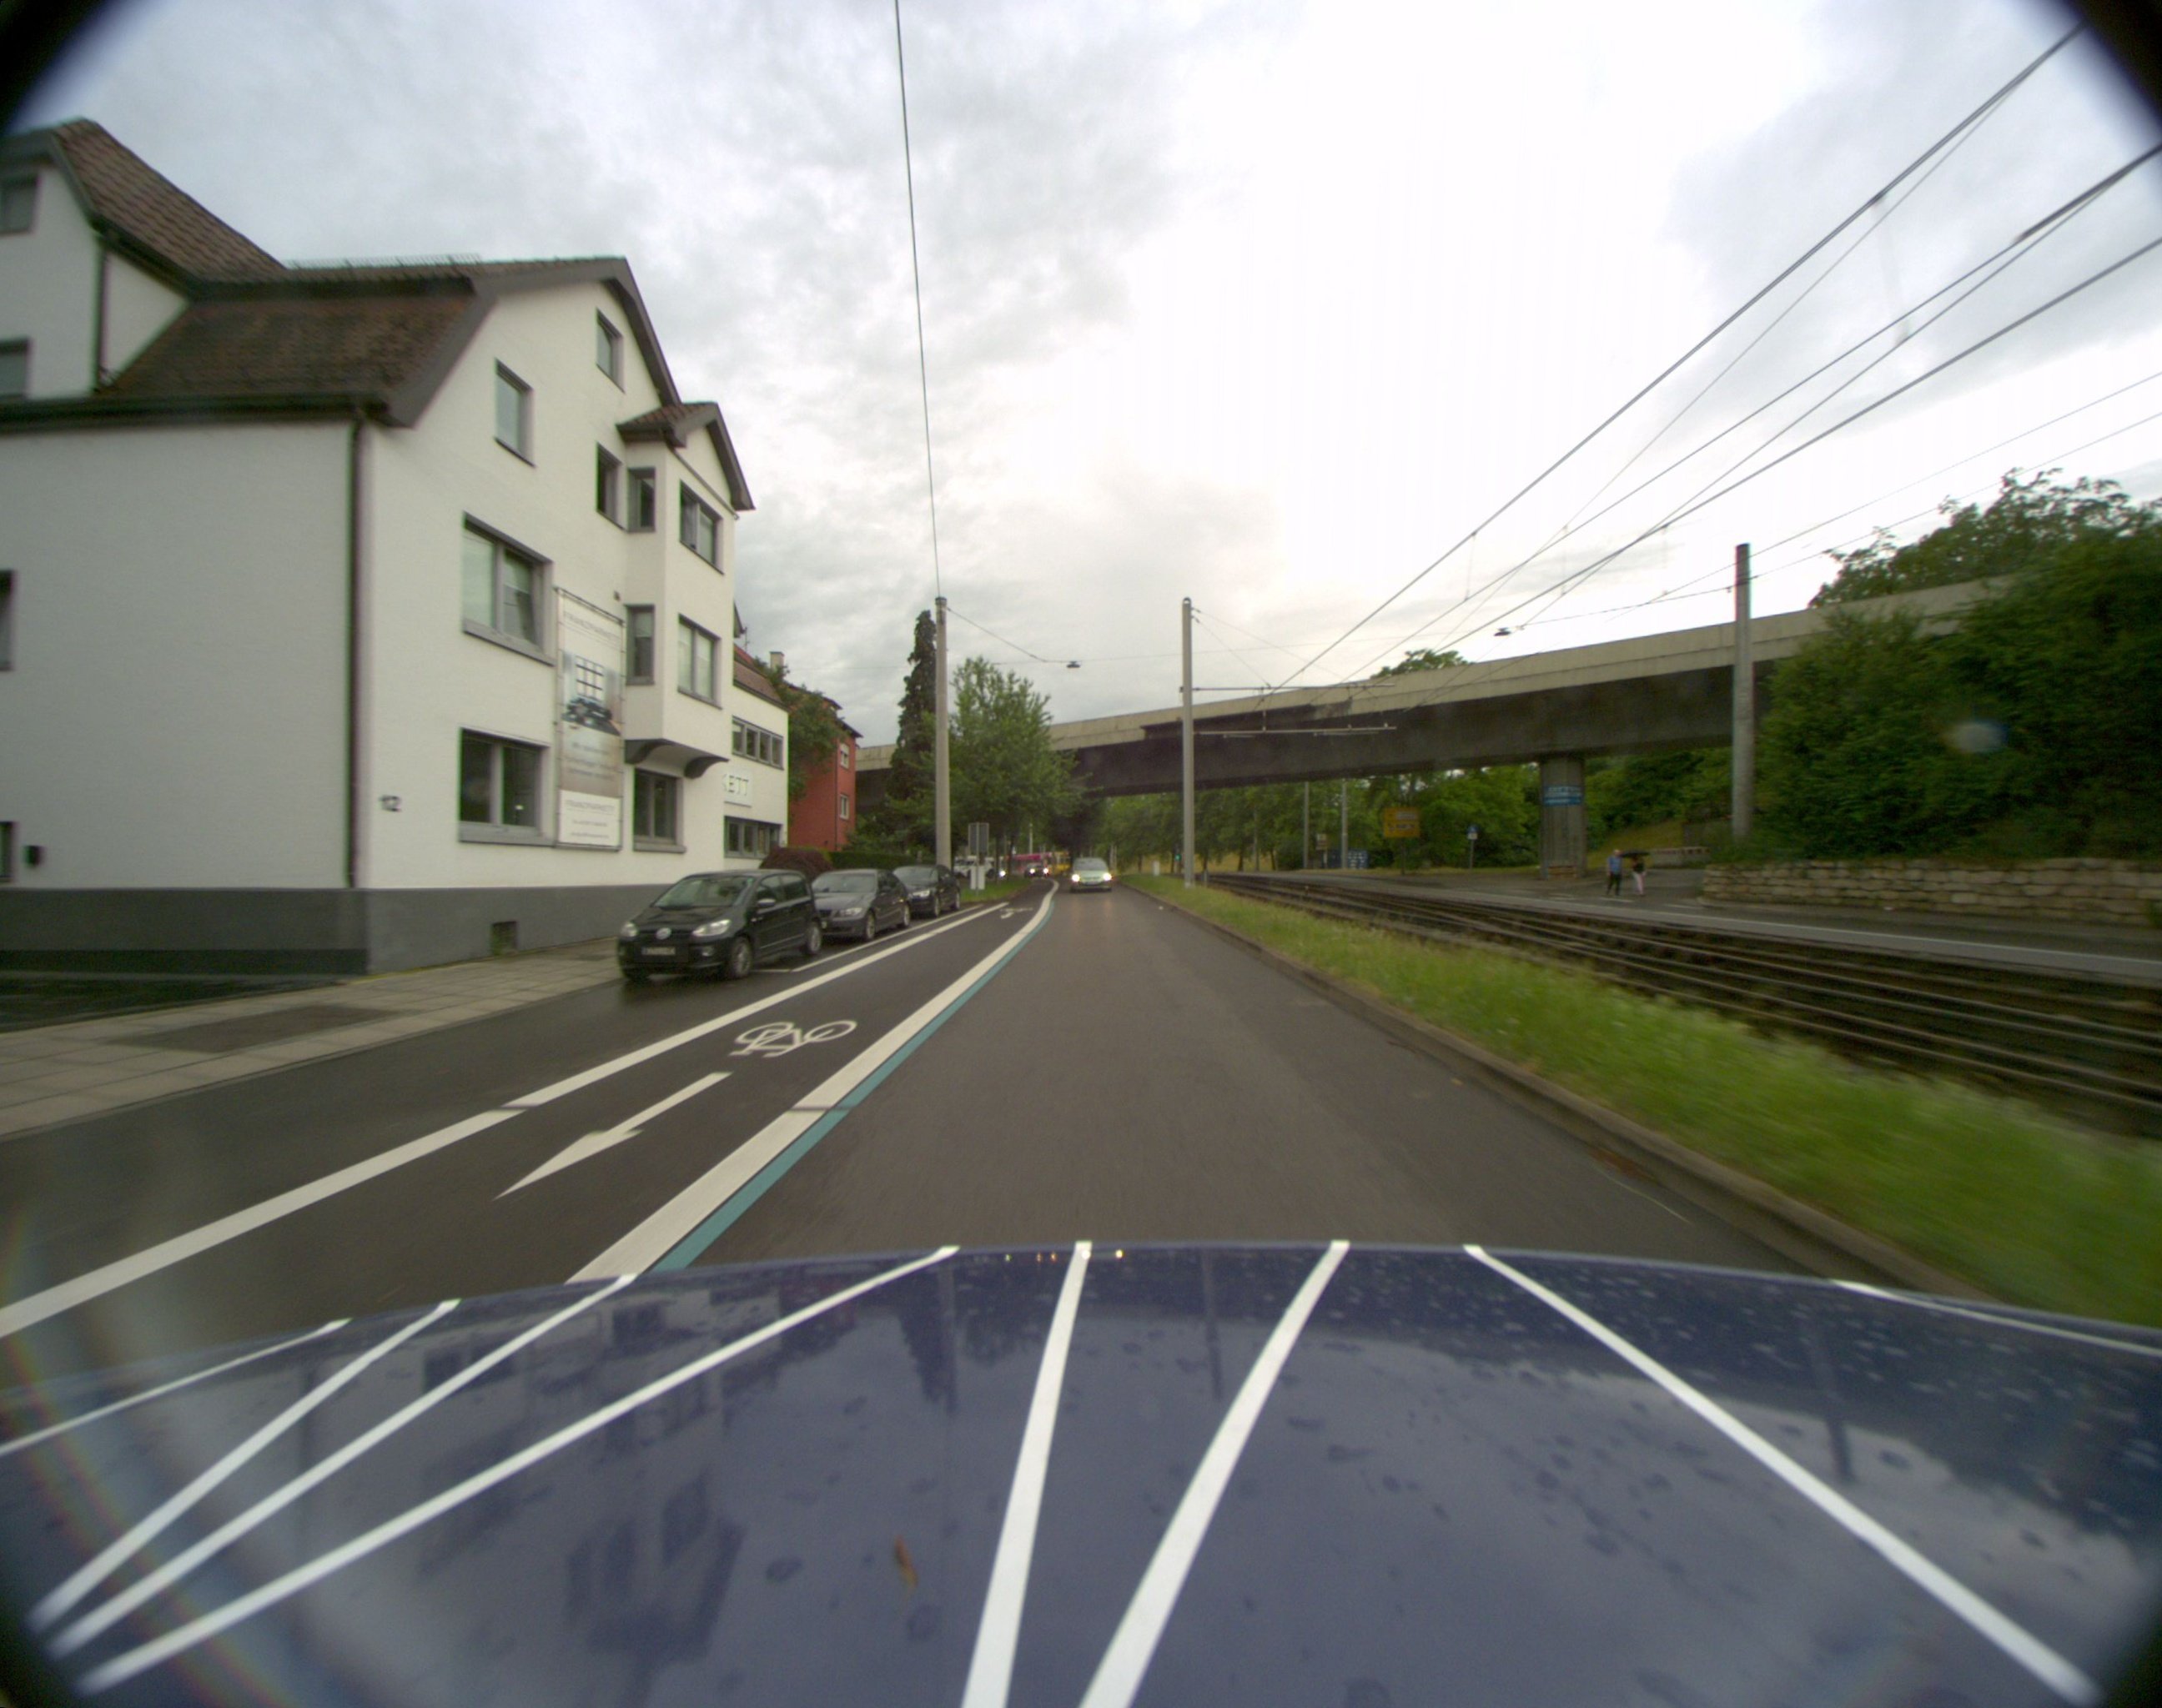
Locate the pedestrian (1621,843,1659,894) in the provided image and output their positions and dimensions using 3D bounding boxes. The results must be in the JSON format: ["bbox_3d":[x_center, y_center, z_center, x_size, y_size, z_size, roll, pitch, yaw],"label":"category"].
[{"bbox_3d":[20.511,0.528,27.903,0.695,1.820,0.866,-2,0,1],"label":"pedestrian"}]

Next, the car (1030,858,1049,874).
[{"bbox_3d":[-4.044,1.124,73.648,1.781,1.493,3.998,-1,0,-5],"label":"car"}]

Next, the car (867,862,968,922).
[{"bbox_3d":[-4.590,1.005,21.995,1.681,1.414,4.566,-2,0,3],"label":"car"}]

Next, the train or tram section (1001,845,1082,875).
[{"bbox_3d":[-6.229,0.963,111.065,2.881,3.938,19.286,-3,1,-31],"label":"train or tram section"}]

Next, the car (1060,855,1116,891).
[{"bbox_3d":[0.372,0.846,33.438,1.779,1.492,4.004,0,-1,10],"label":"car"}]

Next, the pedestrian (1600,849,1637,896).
[{"bbox_3d":[19.576,0.654,27.676,0.695,1.660,0.888,-2,0,4],"label":"pedestrian"}]

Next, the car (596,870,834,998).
[{"bbox_3d":[-5.213,1.053,11.433,1.581,1.443,3.720,-1,1,3],"label":"car"}]

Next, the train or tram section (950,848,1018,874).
[{"bbox_3d":[-16.549,1.344,127.417,2.882,3.948,19.284,-3,1,-34],"label":"train or tram section"}]

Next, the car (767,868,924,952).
[{"bbox_3d":[-4.809,1.077,16.254,1.716,1.404,4.566,-1,0,3],"label":"car"}]

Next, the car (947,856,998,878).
[{"bbox_3d":[-8.087,0.962,56.989,1.798,1.513,3.743,-2,-1,30],"label":"car"}]

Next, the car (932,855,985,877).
[{"bbox_3d":[-9.531,0.899,59.400,1.962,1.621,4.032,-2,-1,30],"label":"car"}]
